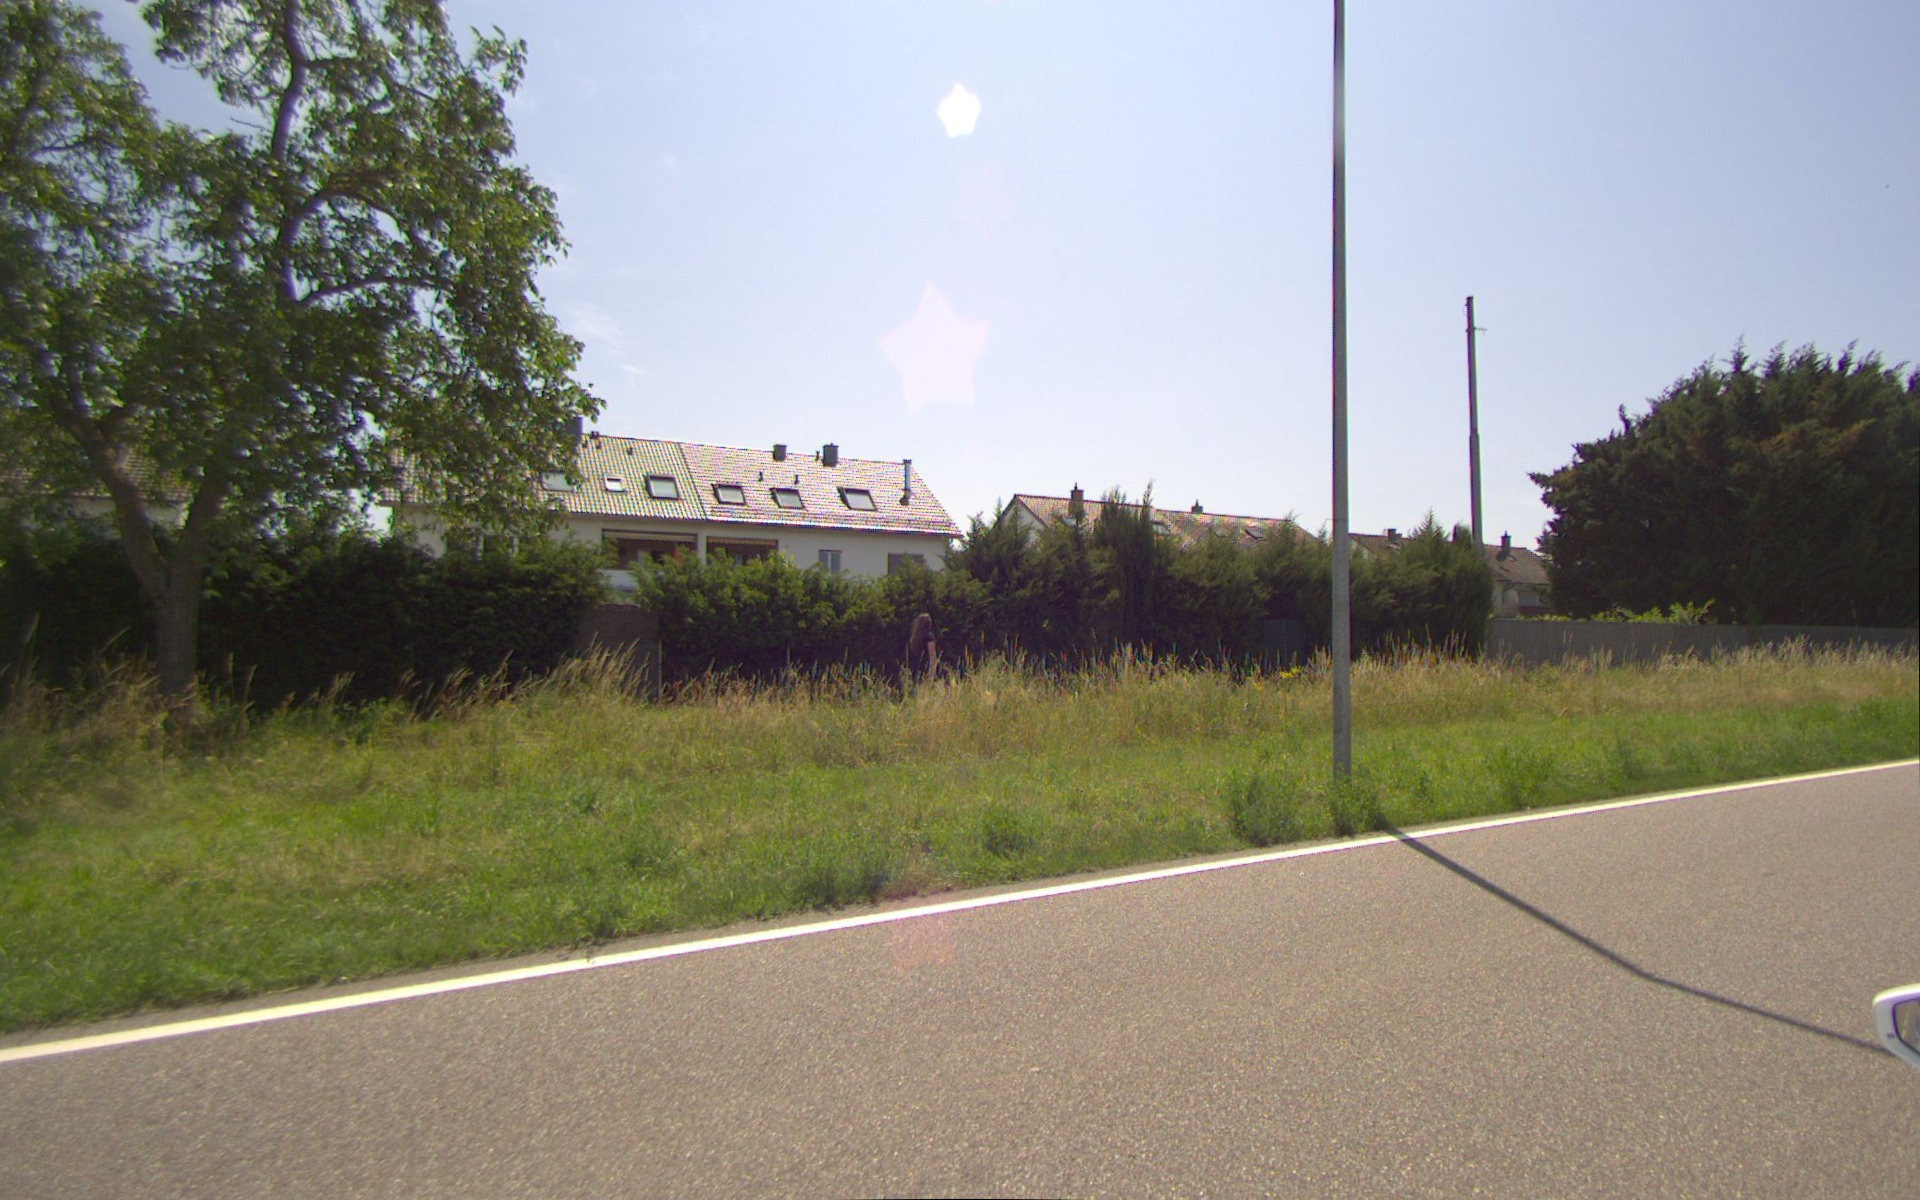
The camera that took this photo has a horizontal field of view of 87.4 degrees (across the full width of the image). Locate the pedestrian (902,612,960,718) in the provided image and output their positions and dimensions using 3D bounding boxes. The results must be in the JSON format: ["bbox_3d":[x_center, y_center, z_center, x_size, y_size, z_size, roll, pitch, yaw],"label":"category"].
[{"bbox_3d":[-0.428,0.932,14.652,0.626,1.497,0.606,1,-1,-29],"label":"pedestrian"}]
